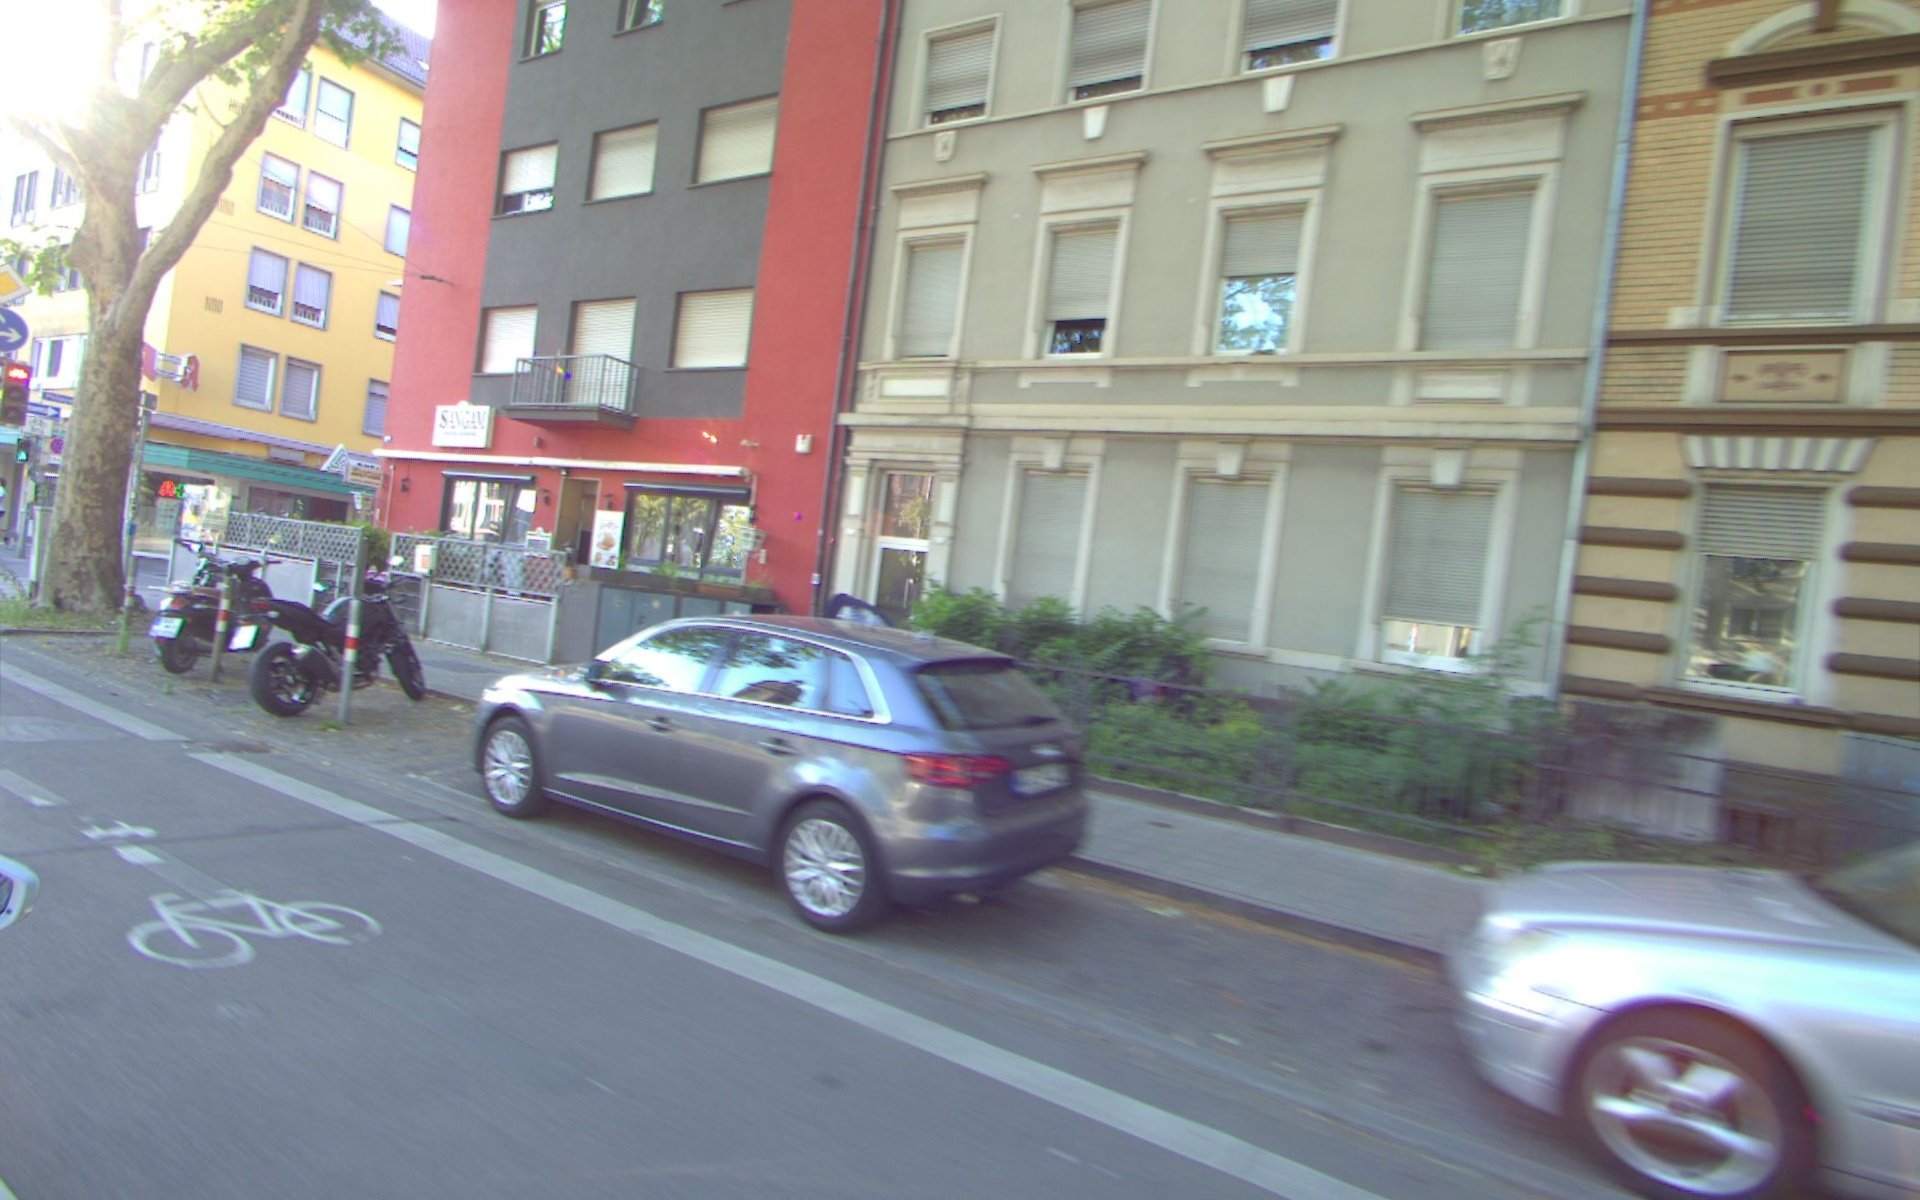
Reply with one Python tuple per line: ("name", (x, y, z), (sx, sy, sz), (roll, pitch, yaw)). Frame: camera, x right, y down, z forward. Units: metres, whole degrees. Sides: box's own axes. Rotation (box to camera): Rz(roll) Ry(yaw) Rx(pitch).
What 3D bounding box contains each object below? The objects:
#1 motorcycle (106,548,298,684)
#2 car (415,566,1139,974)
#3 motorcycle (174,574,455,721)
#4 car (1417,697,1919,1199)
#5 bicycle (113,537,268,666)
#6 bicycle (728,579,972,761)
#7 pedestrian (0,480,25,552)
("motorcycle", (-7.524, 0.143, 10.118), (0.591, 1.166, 1.995), (7, 0, -10))
("car", (-1.282, 0.759, 6.192), (4.250, 1.413, 1.712), (7, 0, 33))
("motorcycle", (-5.677, 0.382, 9.061), (0.752, 1.076, 2.213), (7, 1, 10))
("car", (4.008, 1.373, 3.088), (4.493, 1.469, 1.677), (7, 0, 30))
("bicycle", (-8.462, -0.026, 11.155), (0.686, 1.218, 1.838), (9, 1, -19))
("bicycle", (-1.122, 0.648, 9.899), (2.357, 1.442, 0.608), (7, -2, 33))
("pedestrian", (-24.919, -2.195, 26.097), (0.676, 1.792, 0.680), (7, 0, 33))
